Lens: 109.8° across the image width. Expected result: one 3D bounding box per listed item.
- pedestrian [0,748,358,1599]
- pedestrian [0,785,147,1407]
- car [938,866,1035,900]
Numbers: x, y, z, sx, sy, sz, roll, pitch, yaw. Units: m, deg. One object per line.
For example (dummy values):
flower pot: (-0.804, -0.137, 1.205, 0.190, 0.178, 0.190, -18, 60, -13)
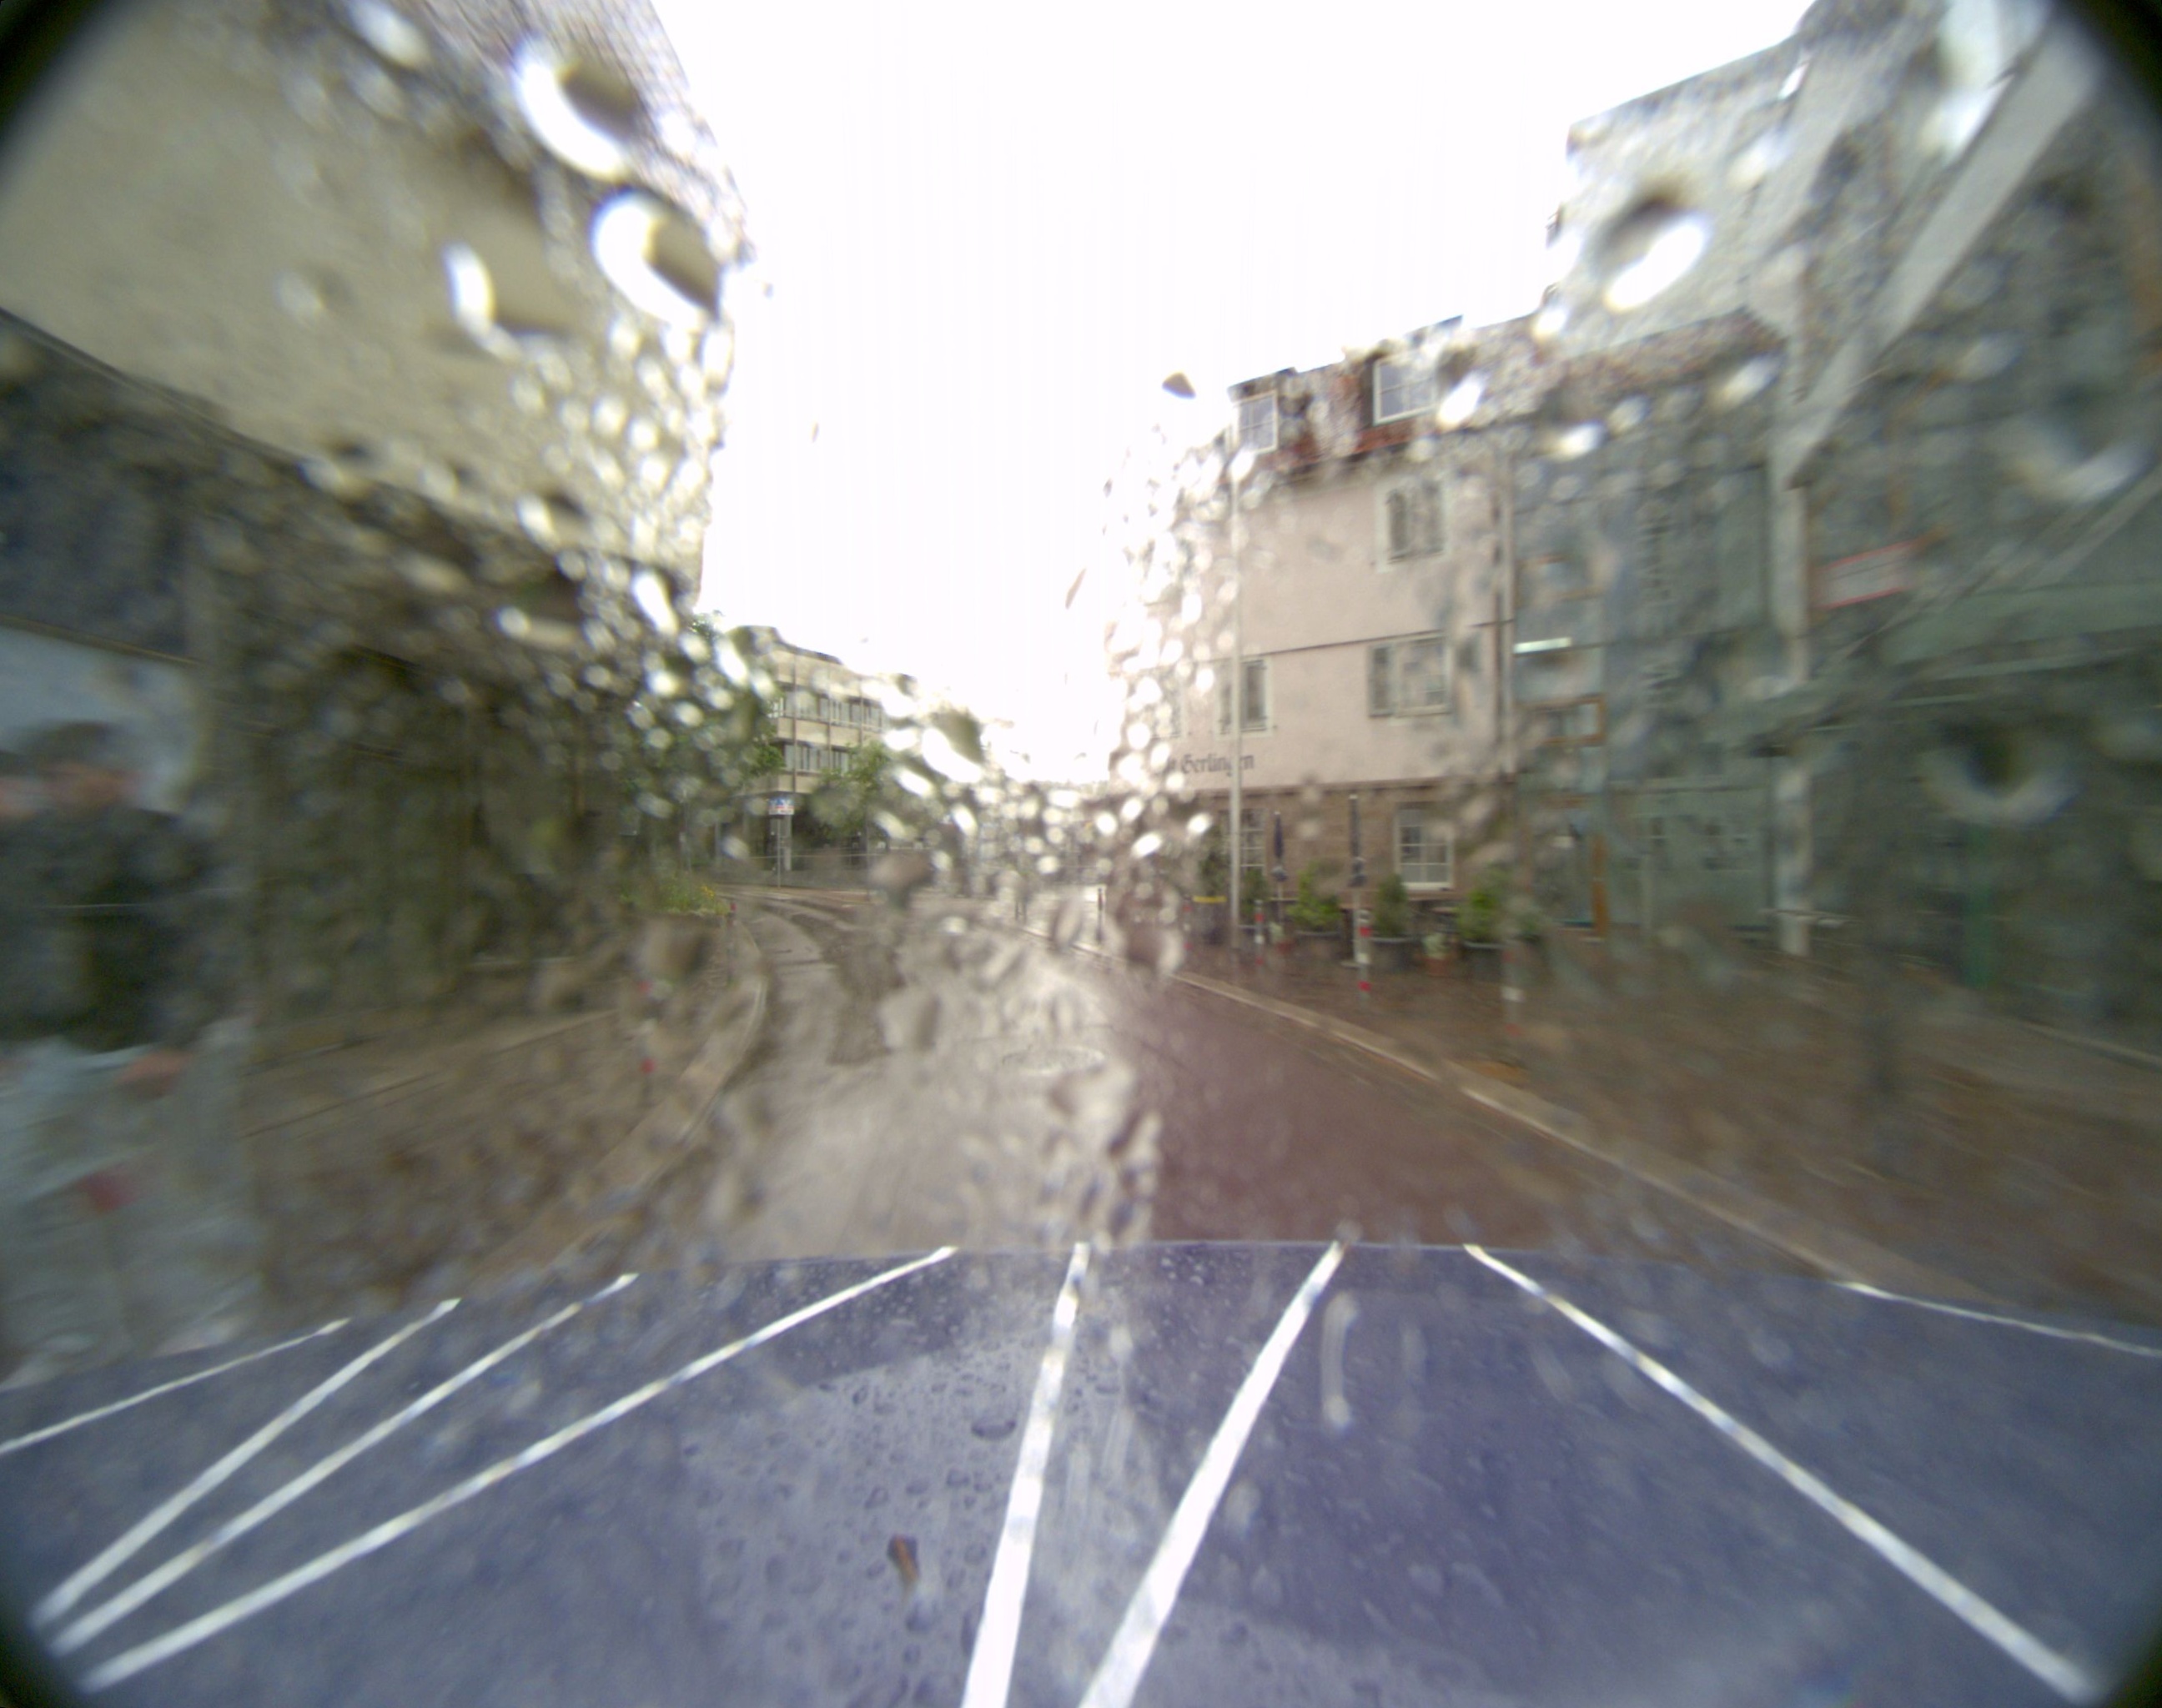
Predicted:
pedestrian: (-2.762, 0.720, 2.044, 0.774, 1.894, 0.805, -2, 1, -5)
pedestrian: (-3.602, 0.731, 2.326, 0.655, 1.892, 0.658, 1, 1, -5)
car: (-4.365, 1.302, 35.144, 3.990, 1.408, 1.879, 1, -1, 20)
